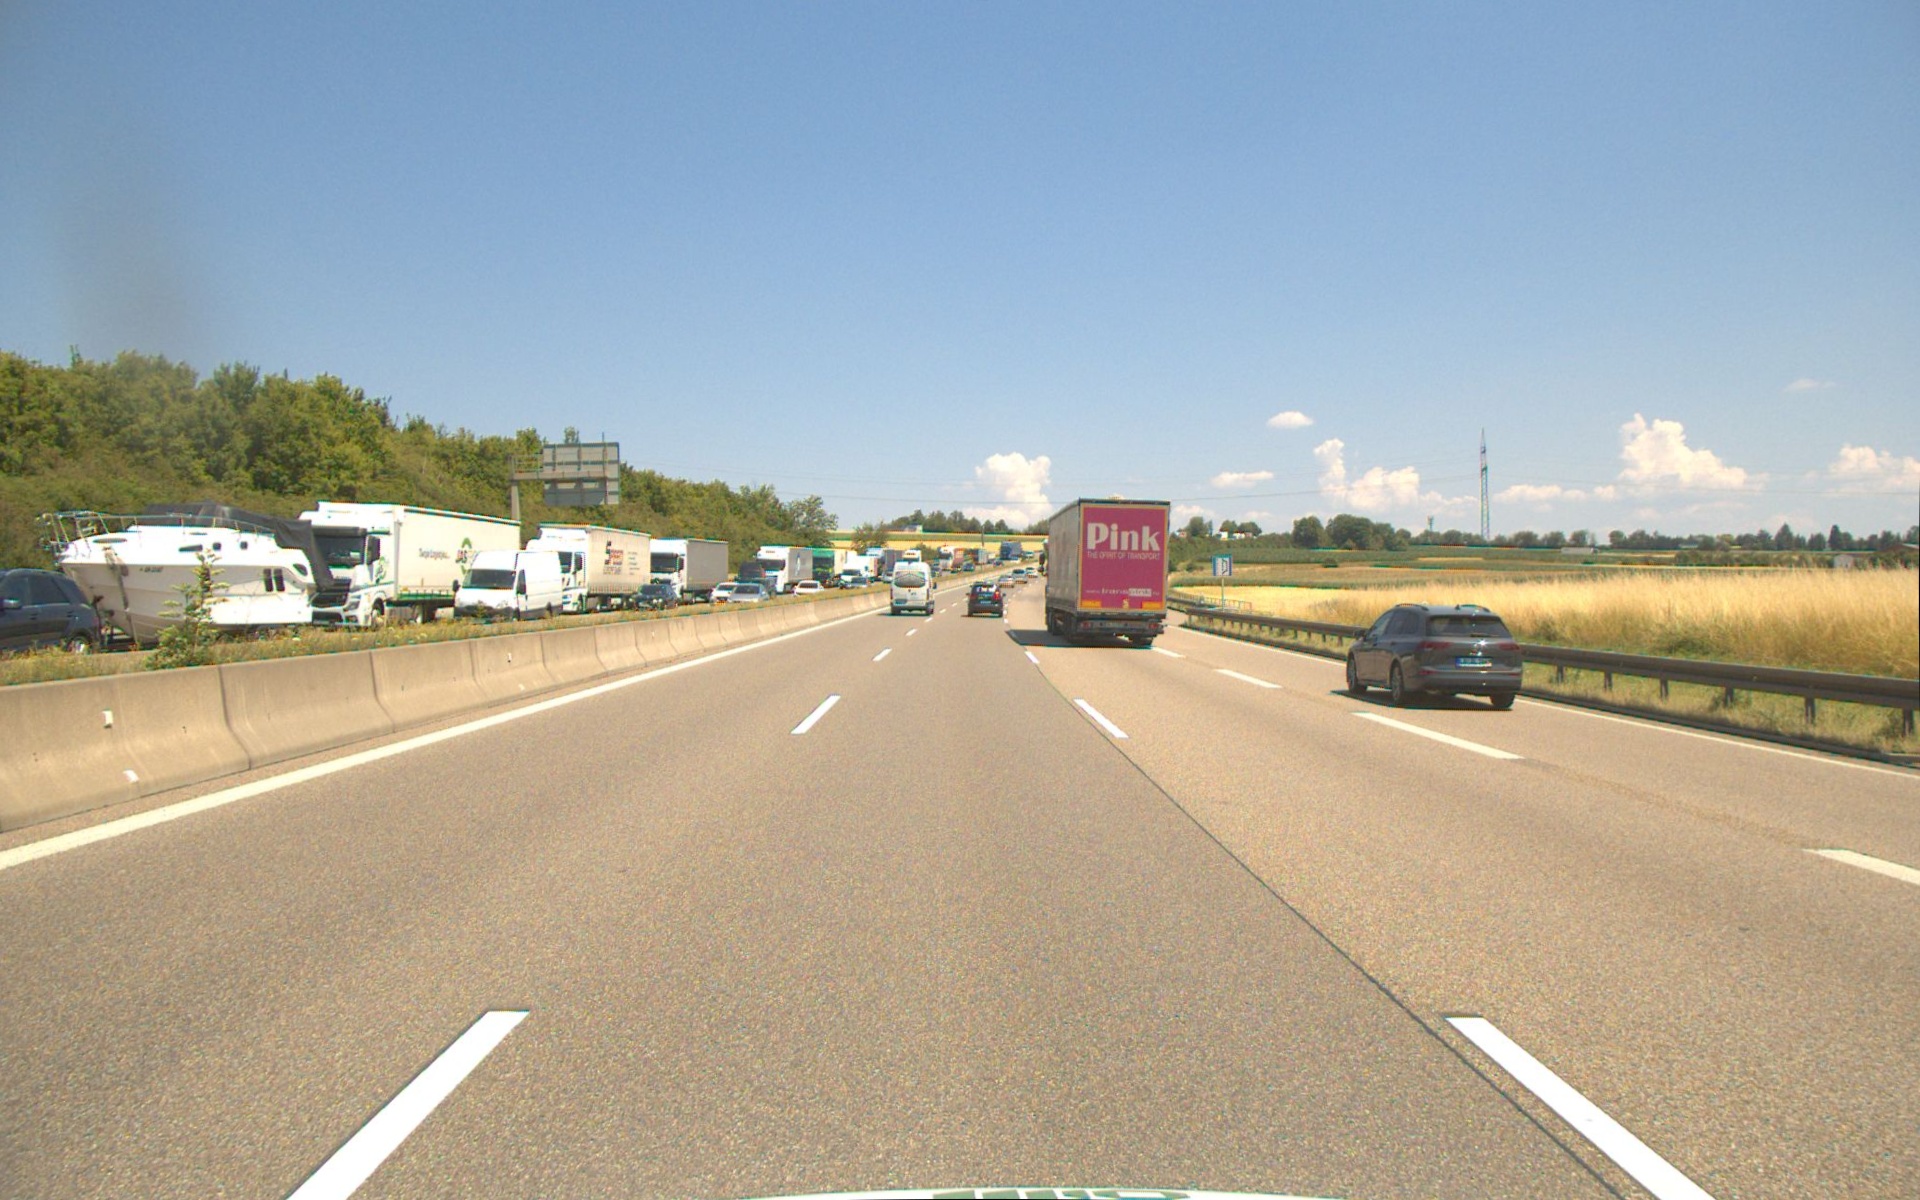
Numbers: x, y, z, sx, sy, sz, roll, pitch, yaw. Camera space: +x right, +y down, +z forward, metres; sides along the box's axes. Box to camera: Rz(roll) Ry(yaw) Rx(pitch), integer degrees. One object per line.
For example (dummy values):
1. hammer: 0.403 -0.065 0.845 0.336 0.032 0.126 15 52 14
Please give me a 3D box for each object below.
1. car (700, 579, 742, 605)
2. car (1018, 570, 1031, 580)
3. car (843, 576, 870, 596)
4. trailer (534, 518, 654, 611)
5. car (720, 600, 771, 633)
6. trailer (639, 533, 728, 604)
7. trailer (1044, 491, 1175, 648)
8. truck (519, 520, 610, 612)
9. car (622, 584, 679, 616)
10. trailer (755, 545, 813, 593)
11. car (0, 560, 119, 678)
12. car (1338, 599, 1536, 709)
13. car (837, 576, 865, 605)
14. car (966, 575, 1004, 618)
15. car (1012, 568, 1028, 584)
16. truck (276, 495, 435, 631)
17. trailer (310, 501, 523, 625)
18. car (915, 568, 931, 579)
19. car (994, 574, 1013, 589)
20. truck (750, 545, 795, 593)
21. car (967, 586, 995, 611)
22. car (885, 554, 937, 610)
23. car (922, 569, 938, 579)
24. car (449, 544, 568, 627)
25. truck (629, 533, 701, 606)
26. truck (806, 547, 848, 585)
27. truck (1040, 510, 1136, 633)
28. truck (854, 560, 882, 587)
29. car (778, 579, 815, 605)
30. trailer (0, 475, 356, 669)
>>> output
1. car: -14.363 -0.476 99.563 1.842 1.500 4.407 1 0 1
2. car: 9.425 -3.707 241.833 1.952 1.333 4.002 0 2 1
3. car: -8.819 -1.202 141.551 1.892 1.718 4.797 0 1 1
4. trailer: -18.556 -1.785 84.925 2.753 4.353 13.871 1 1 1
5. car: -10.920 0.816 84.565 1.952 1.606 4.595 1 0 0
6. trailer: -17.909 -1.967 108.257 2.920 4.279 14.197 1 1 2
7. trailer: 4.404 -0.964 51.736 2.858 4.189 13.860 1 1 0
8. truck: -18.639 -1.586 78.299 2.698 4.113 6.100 1 1 0
9. car: -15.209 -0.012 81.508 1.838 1.459 4.925 1 1 0
10. trailer: -15.944 -2.866 151.239 2.841 4.157 14.453 0 1 4
11. car: -15.227 0.273 25.588 2.064 1.753 4.929 0 0 -2
12. car: 7.188 0.768 25.396 1.725 1.496 4.536 1 0 0
13. car: -11.065 -0.908 167.983 2.095 2.834 6.627 1 0 2
14. car: 1.242 -0.189 82.154 1.809 1.893 4.207 0 3 0
15. car: 7.532 -3.035 207.399 1.952 1.937 4.001 1 0 2
16. truck: -19.214 -1.157 52.942 2.789 4.077 5.975 1 0 1
17. trailer: -19.148 -1.235 59.596 2.843 3.940 13.879 1 0 1
18. car: -5.741 -4.101 256.131 1.919 1.486 4.250 1 0 6
19. car: 4.778 -2.061 182.246 1.953 1.612 4.000 0 1 0
20. truck: -16.320 -2.696 144.313 2.793 4.106 6.607 0 1 3
21. car: 1.582 -0.110 120.750 1.952 1.780 4.001 1 0 1
22. car: -2.403 -0.837 82.422 2.134 2.670 4.674 1 0 4
23. car: -4.448 -3.842 244.566 1.919 1.486 4.250 1 0 6
24. car: -15.228 -0.497 56.282 1.858 2.619 7.573 1 0 1
25. truck: -18.078 -1.847 101.789 2.900 4.283 6.607 1 0 3
26. truck: -14.233 -3.735 178.214 2.783 3.966 11.255 0 2 4
27. truck: 4.461 -1.023 58.742 2.856 4.078 6.511 1 1 0
28. truck: -11.347 -3.285 204.881 2.485 3.263 7.594 1 2 4
29. car: -10.653 -0.506 108.027 1.952 1.672 4.406 1 0 0
30. trailer: -15.424 -0.453 33.419 2.812 3.239 10.724 1 0 -2
